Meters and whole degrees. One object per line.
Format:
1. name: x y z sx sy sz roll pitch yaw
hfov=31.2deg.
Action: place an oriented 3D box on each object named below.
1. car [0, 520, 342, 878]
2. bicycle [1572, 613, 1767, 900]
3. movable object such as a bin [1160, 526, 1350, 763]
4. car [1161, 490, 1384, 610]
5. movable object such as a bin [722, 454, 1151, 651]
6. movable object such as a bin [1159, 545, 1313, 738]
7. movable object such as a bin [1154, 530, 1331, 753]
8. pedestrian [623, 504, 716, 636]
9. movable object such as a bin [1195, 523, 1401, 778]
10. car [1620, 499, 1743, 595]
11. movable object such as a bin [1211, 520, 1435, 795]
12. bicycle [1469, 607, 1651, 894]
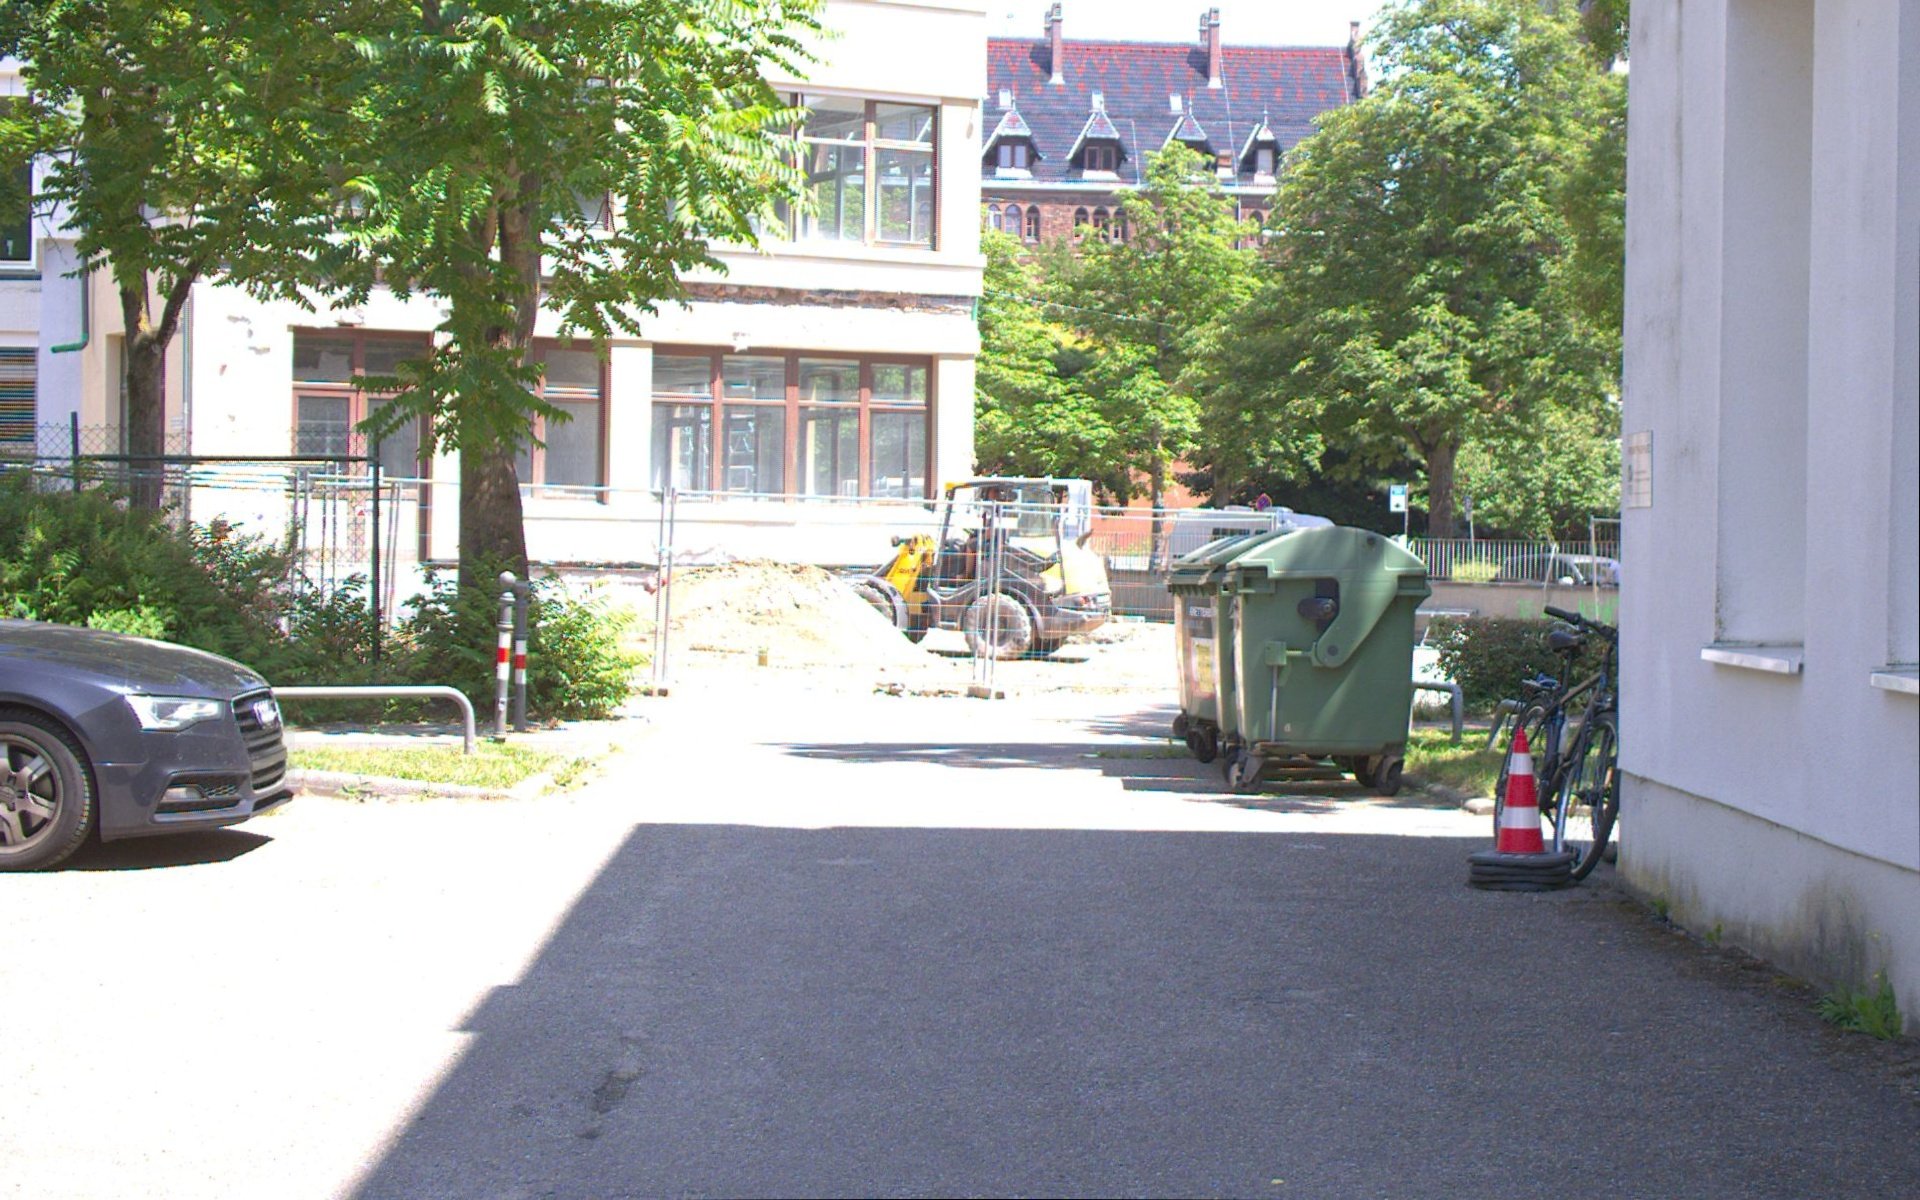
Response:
1. car: -5.006 0.350 14.397 4.429 1.375 2.024 1 1 2
2. bicycle: 2.955 0.620 14.447 0.405 1.098 1.826 1 1 -1
3. movable object such as a bin: 1.861 0.267 21.926 1.075 1.453 1.377 1 0 0
4. car: 6.494 -1.042 72.130 1.993 2.408 5.244 1 1 -30
5. movable object such as a bin: -0.343 -0.678 47.816 5.411 2.456 2.364 3 1 28
6. movable object such as a bin: 2.143 0.309 26.857 1.075 1.453 1.377 1 0 0
7. movable object such as a bin: 1.900 0.268 23.348 1.075 1.453 1.377 1 0 0
8. pedestrian: -4.100 -0.423 48.498 0.984 1.840 0.916 1 0 21
9. movable object such as a bin: 1.989 0.284 20.454 1.075 1.453 1.377 1 0 0
10. car: 17.706 -1.274 84.166 2.186 2.250 4.864 1 1 21
11. movable object such as a bin: 1.986 0.298 19.010 1.075 1.453 1.377 1 0 0
12. bicycle: 2.488 0.591 14.390 0.405 1.098 1.826 1 1 -1
